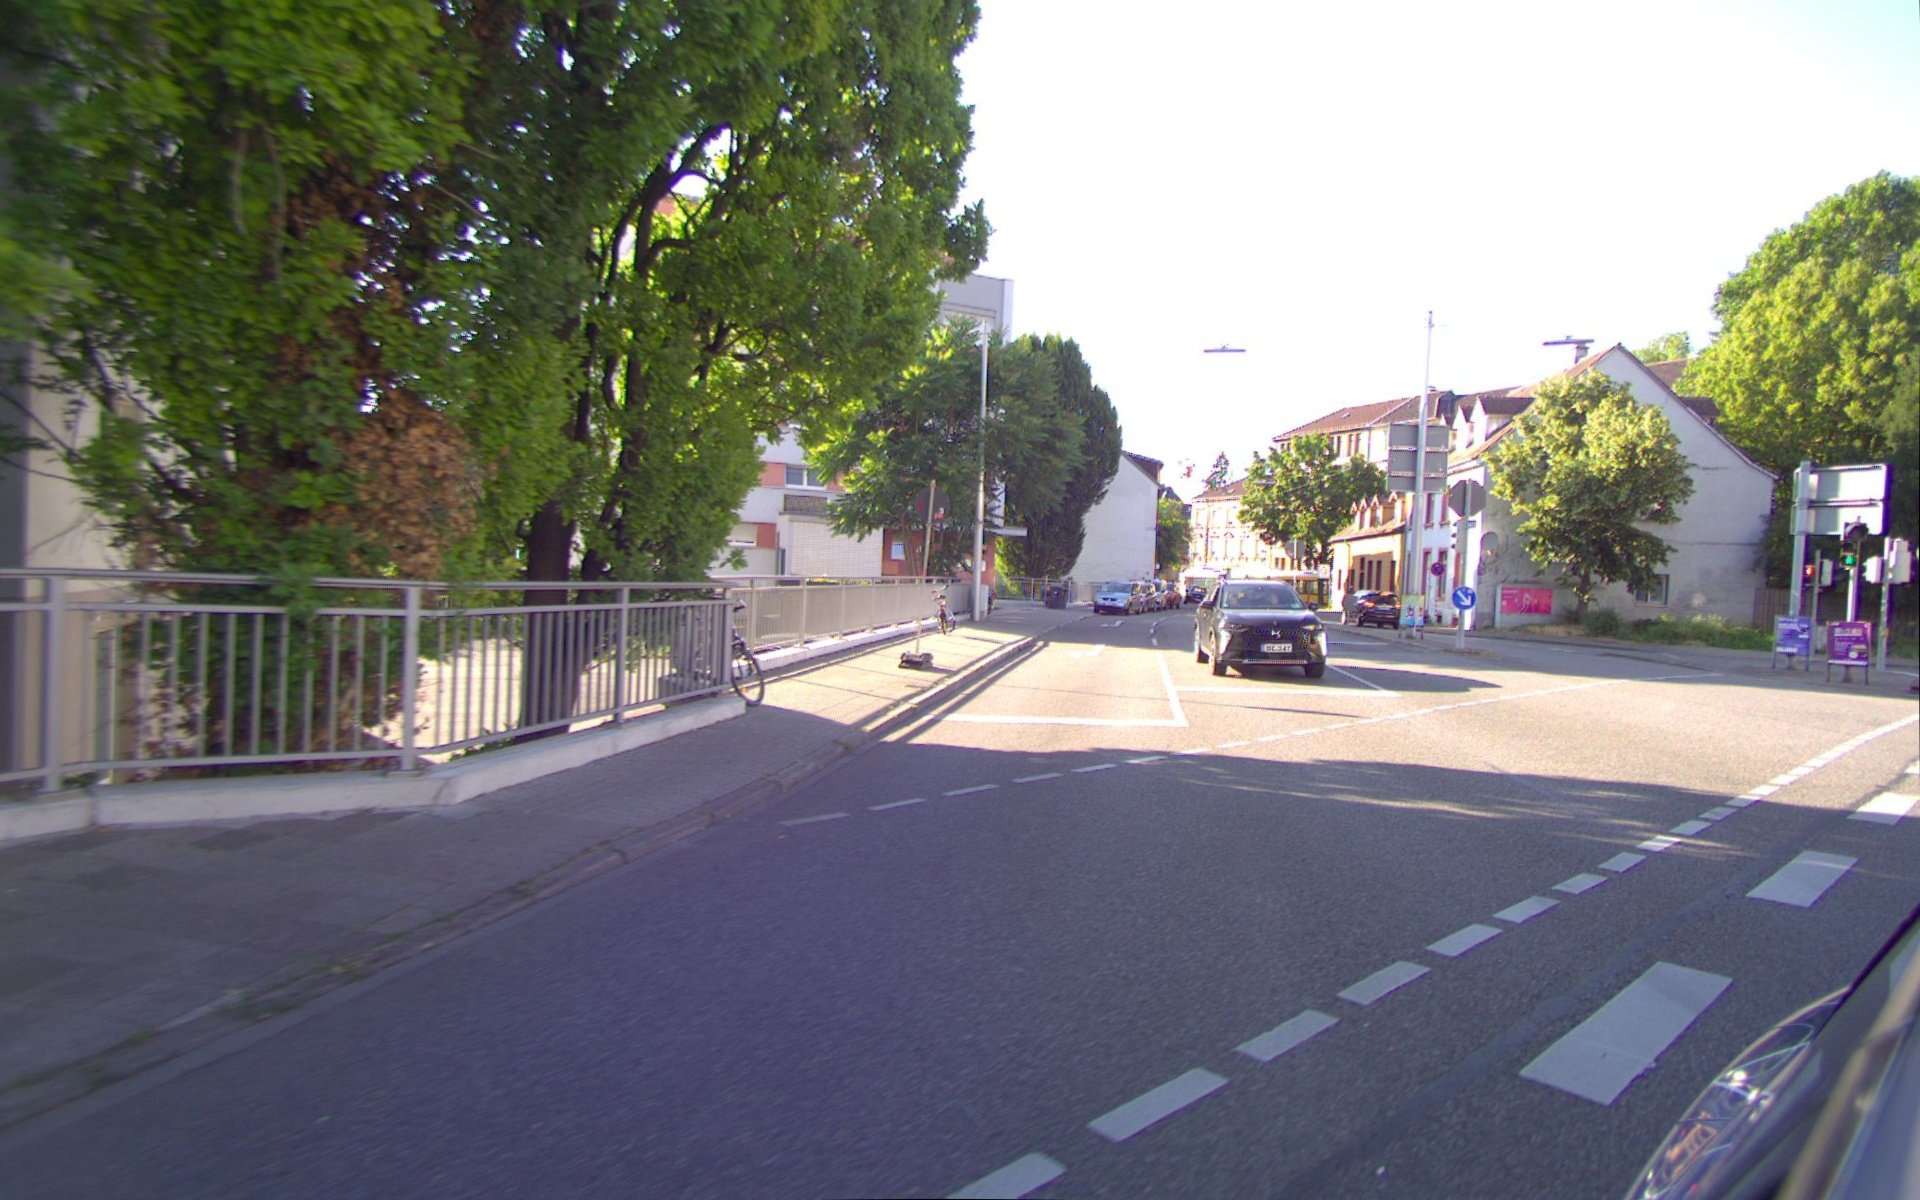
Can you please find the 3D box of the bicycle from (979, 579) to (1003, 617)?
[{"bbox_3d":[1.013,-0.080,33.495,0.698,1.193,2.334,2,1,0],"label":"bicycle"}]

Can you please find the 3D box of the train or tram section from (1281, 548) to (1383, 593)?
[{"bbox_3d":[31.632,-2.469,86.521,2.739,3.563,9.289,2,1,-20],"label":"train or tram section"}]

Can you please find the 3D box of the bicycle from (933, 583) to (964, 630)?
[{"bbox_3d":[-0.269,0.137,24.680,0.604,1.081,1.922,2,0,3],"label":"bicycle"}]

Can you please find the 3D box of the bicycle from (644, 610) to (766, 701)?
[{"bbox_3d":[-2.800,0.590,11.098,1.272,0.915,0.407,2,0,20],"label":"bicycle"}]

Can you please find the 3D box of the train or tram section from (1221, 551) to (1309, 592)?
[{"bbox_3d":[28.501,-2.668,95.147,2.739,3.563,9.288,2,1,-21],"label":"train or tram section"}]

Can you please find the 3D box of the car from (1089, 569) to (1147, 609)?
[{"bbox_3d":[7.696,-0.512,49.056,1.975,1.803,4.201,2,1,20],"label":"car"}]

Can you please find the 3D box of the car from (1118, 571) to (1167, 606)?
[{"bbox_3d":[10.185,-0.622,56.202,1.975,1.803,4.201,2,1,20],"label":"car"}]

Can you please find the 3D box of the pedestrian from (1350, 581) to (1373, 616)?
[{"bbox_3d":[21.433,-0.082,53.979,0.944,1.861,1.283,2,0,15],"label":"pedestrian"}]

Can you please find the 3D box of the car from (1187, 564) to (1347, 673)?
[{"bbox_3d":[5.349,0.248,18.262,1.966,1.691,4.655,-1,1,7],"label":"car"}]

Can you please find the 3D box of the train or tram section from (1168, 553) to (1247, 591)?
[{"bbox_3d":[25.297,-2.832,103.990,2.788,3.646,9.888,2,1,-20],"label":"train or tram section"}]

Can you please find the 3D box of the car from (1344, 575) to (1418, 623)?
[{"bbox_3d":[18.284,-0.071,44.154,1.969,1.838,4.238,5,2,11],"label":"car"}]
